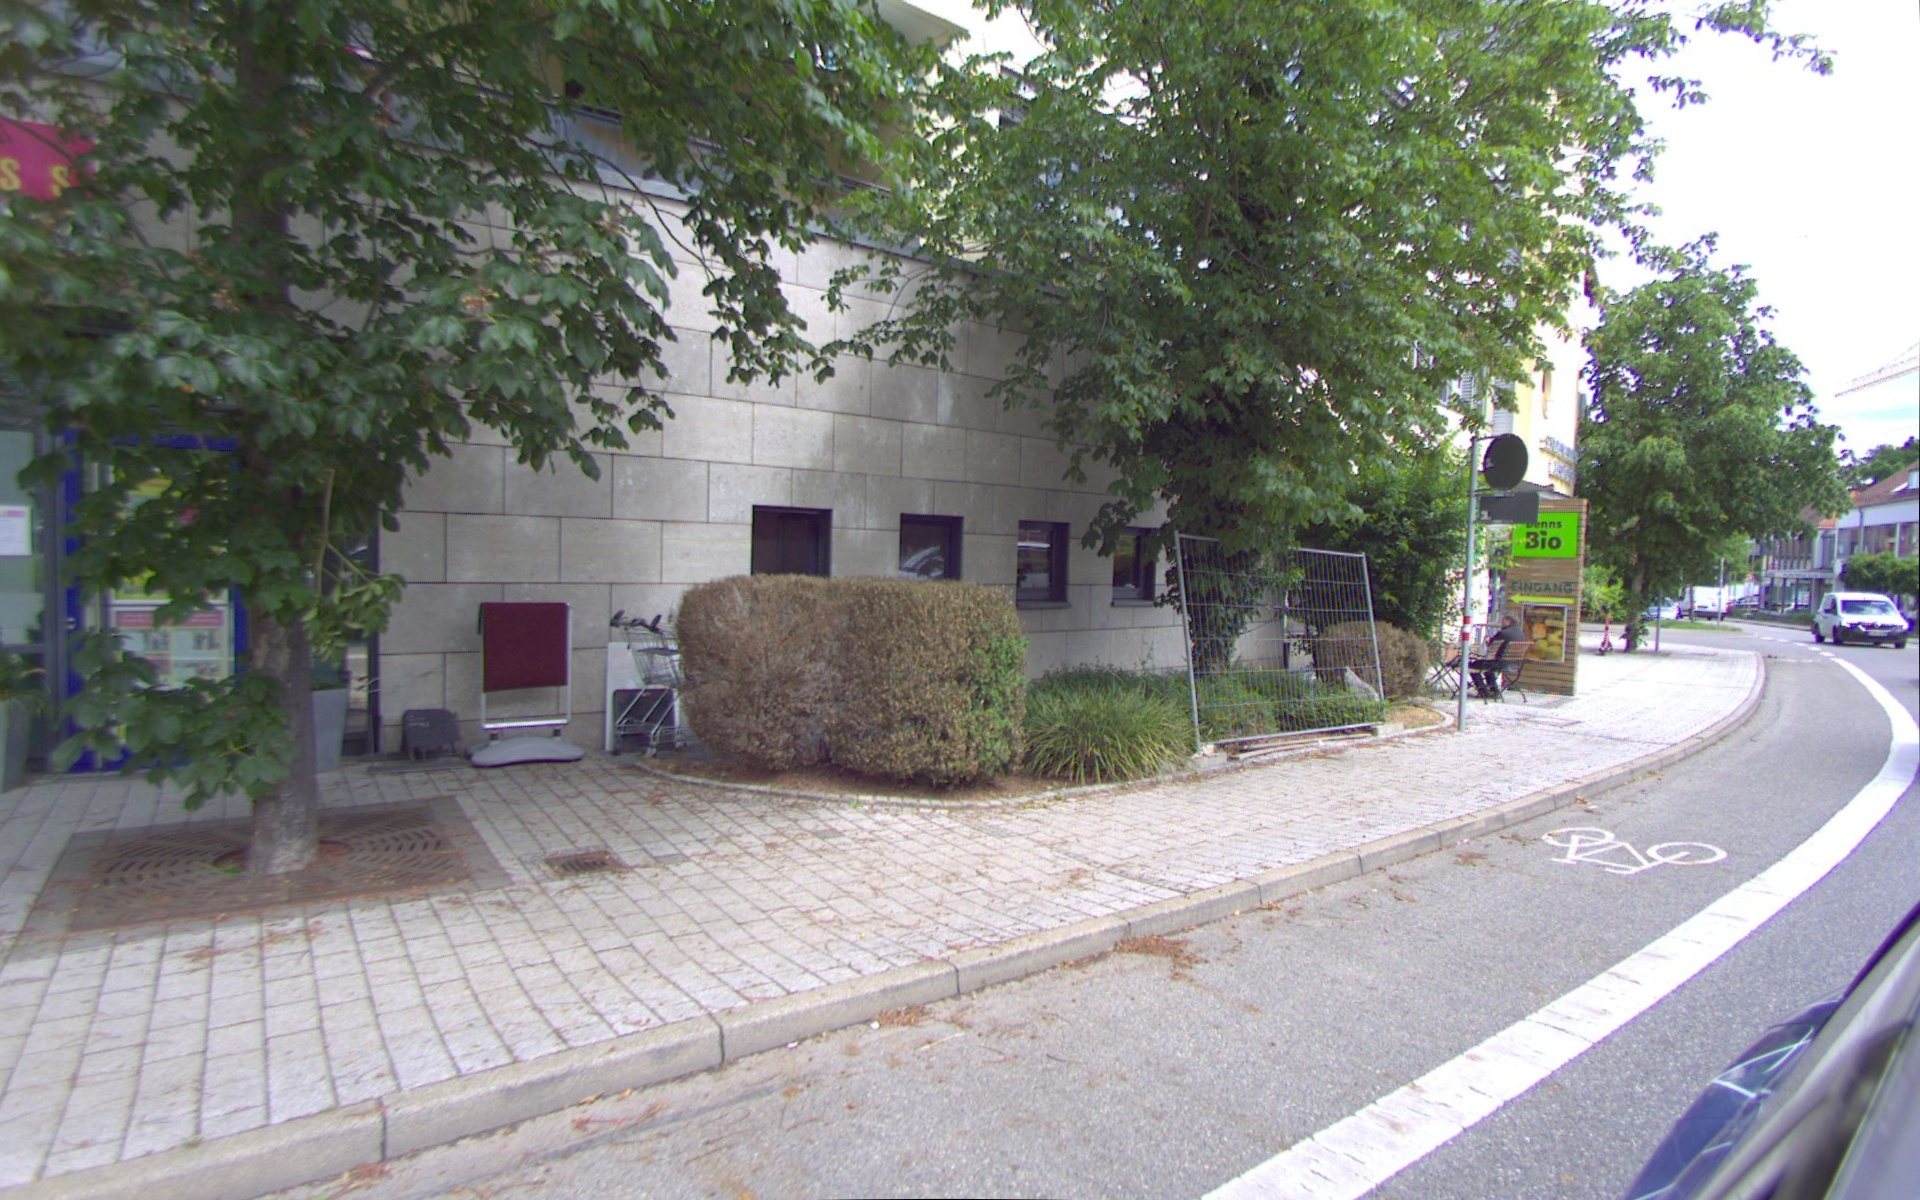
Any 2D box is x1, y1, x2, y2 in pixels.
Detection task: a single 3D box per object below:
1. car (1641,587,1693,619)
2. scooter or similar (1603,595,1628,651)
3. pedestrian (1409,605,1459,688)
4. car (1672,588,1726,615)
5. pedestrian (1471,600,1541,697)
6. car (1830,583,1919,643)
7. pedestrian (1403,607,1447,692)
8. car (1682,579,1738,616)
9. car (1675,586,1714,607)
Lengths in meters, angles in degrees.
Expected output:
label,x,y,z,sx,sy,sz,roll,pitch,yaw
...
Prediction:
label,x,y,z,sx,sy,sz,roll,pitch,yaw
car,39.738,0.160,56.966,1.679,1.687,4.420,3,1,27
scooter or similar,16.540,0.568,25.538,0.380,1.332,1.439,2,2,38
pedestrian,7.368,0.707,15.732,0.576,1.218,0.495,2,2,42
car,49.802,0.108,68.181,4.383,1.687,1.942,1,1,-40
pedestrian,7.923,0.678,14.701,0.567,1.333,0.691,-1,2,-31
car,31.136,0.371,34.457,1.956,1.829,4.371,1,2,37
pedestrian,6.942,0.723,15.099,0.519,1.196,0.496,1,2,32
car,53.881,-0.189,72.794,2.049,2.382,5.138,5,3,25
car,59.537,-0.292,82.095,1.758,1.442,4.075,5,4,25
